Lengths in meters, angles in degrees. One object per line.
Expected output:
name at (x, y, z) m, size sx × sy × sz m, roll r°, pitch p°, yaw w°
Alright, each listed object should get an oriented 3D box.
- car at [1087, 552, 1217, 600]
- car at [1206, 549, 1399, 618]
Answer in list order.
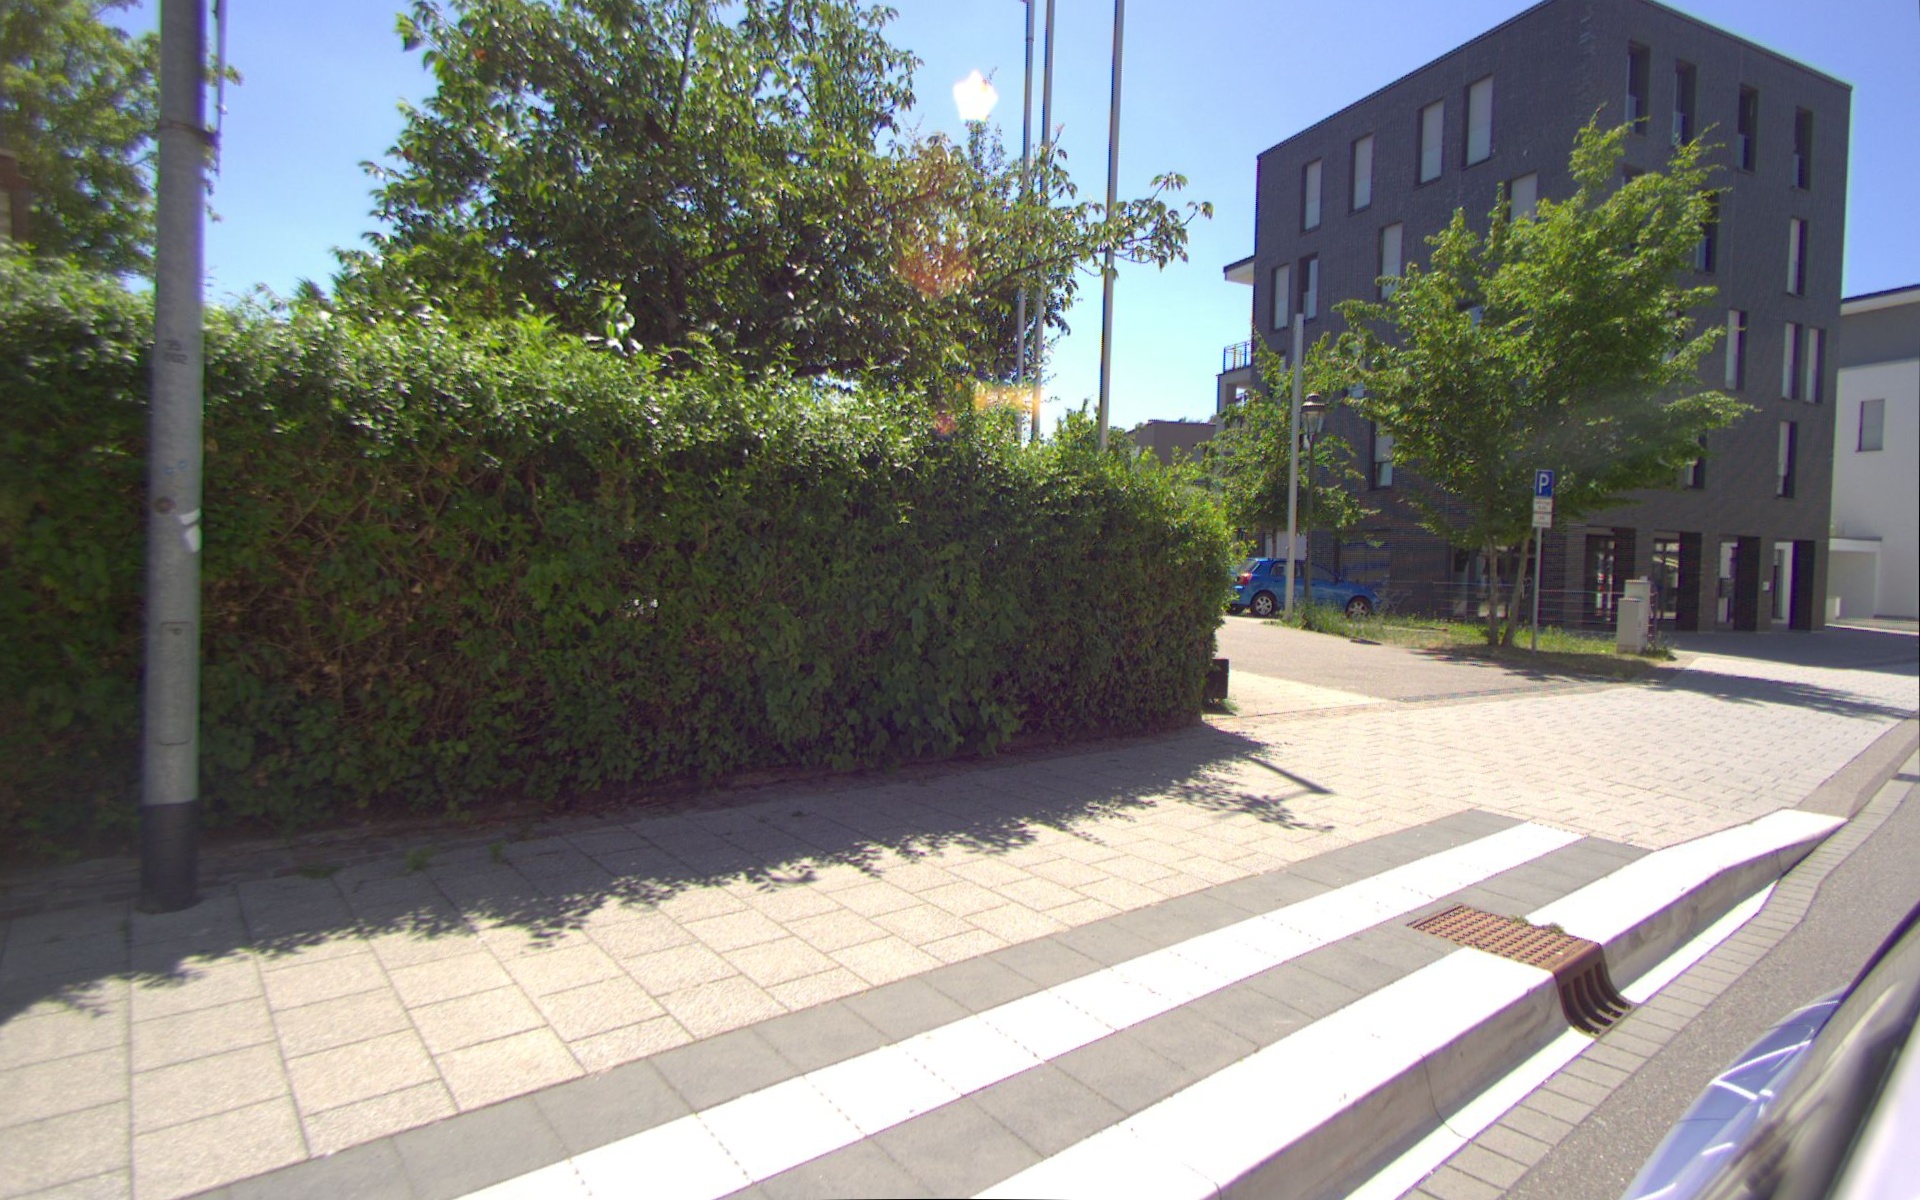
car at (6.779, -0.865, 35.891) m, size 4.086 × 1.458 × 1.821 m, roll 2°, pitch 3°, yaw -12°
car at (8.425, -0.432, 25.042) m, size 4.086 × 1.458 × 1.821 m, roll 2°, pitch 3°, yaw -12°
